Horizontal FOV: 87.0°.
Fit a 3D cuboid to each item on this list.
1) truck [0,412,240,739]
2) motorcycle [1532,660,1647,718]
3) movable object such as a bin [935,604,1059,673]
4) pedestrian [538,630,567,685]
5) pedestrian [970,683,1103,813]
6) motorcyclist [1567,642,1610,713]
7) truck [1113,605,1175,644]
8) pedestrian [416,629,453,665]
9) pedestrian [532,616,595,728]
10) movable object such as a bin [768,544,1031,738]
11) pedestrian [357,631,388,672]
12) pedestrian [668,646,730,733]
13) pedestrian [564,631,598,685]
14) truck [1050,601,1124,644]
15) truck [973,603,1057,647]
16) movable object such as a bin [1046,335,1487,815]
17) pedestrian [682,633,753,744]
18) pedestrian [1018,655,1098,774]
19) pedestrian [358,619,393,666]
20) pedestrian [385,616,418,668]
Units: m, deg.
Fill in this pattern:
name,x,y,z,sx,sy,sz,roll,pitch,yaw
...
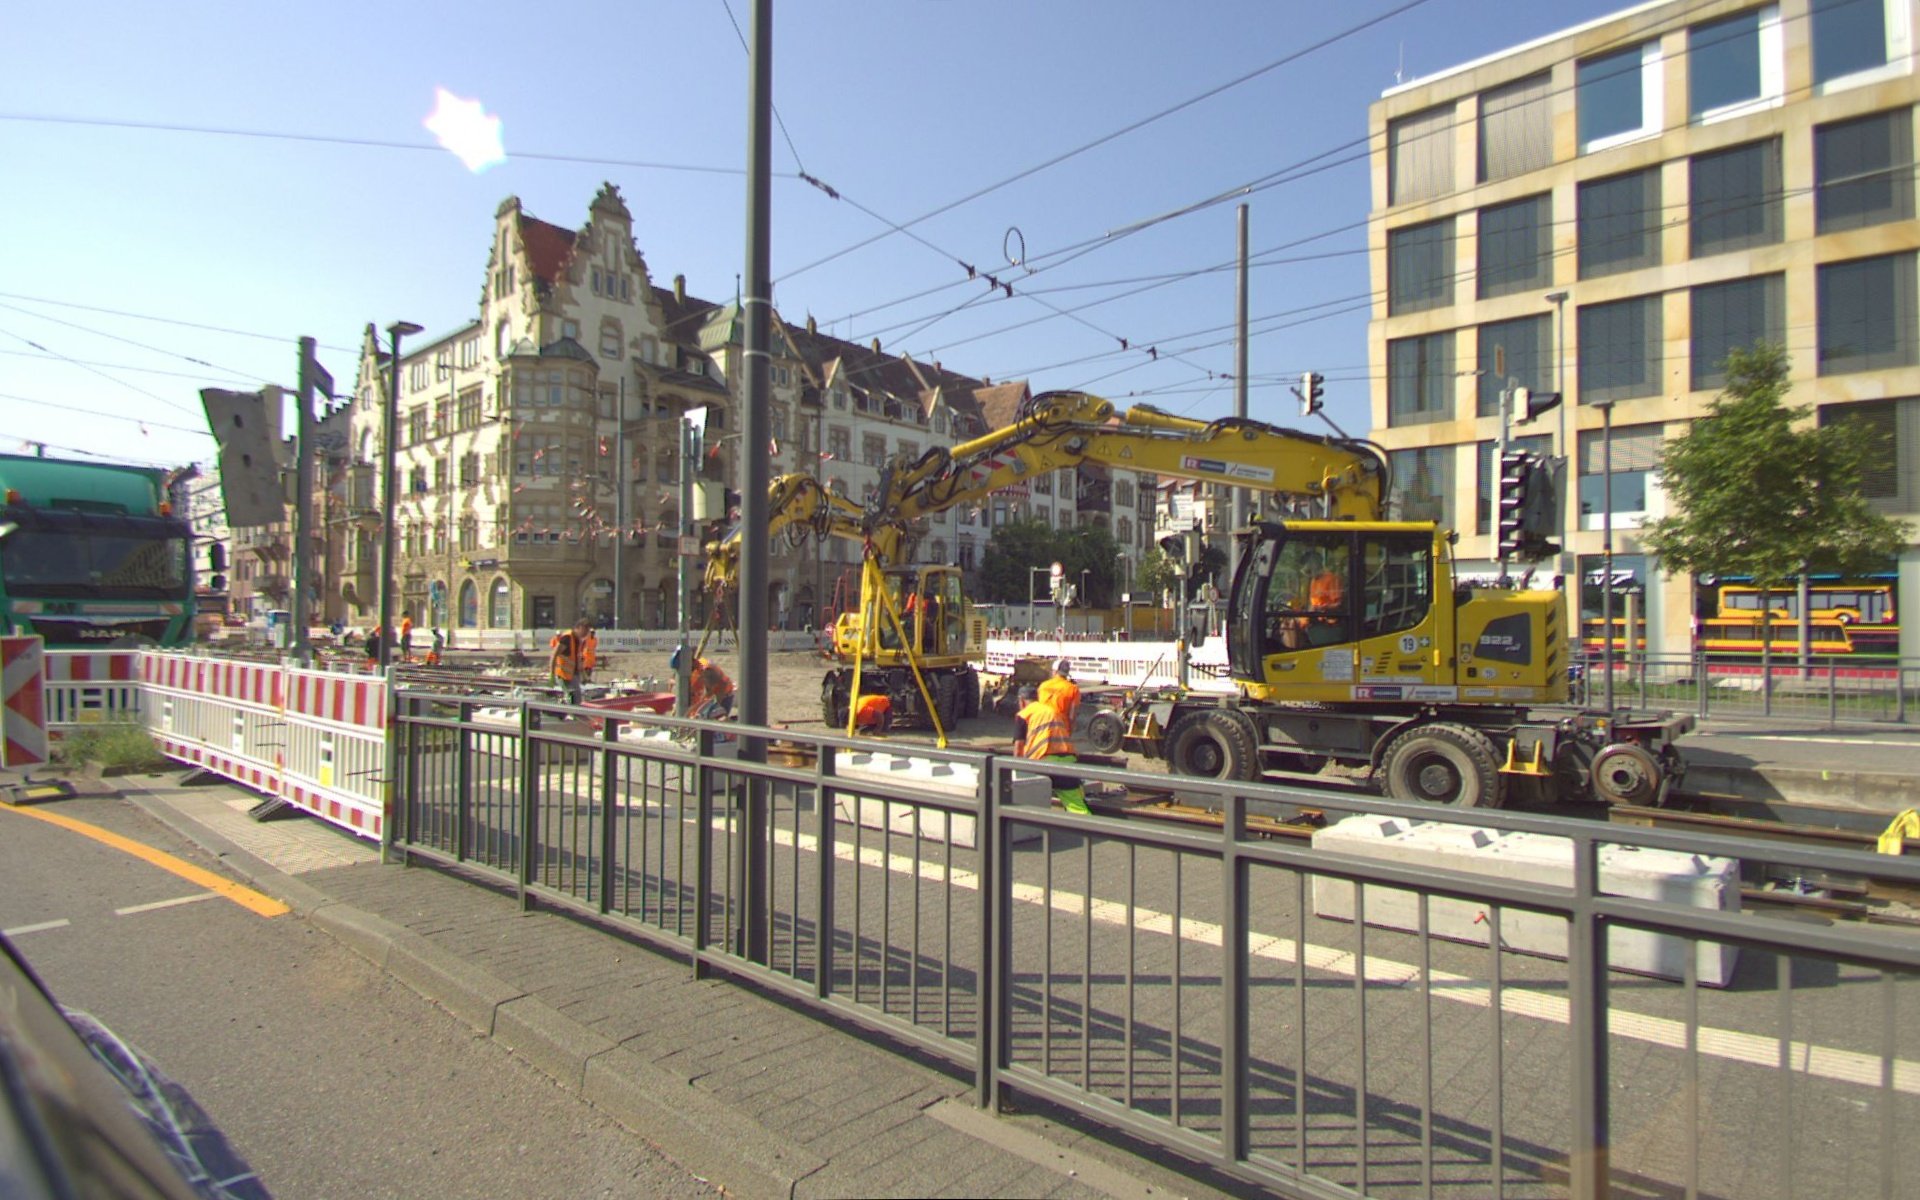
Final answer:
name,x,y,z,sx,sy,sz,roll,pitch,yaw
truck,-14.445,-0.193,15.101,8.987,3.817,2.786,-1,-3,33
motorcycle,10.941,1.543,17.632,0.424,0.885,1.636,6,-4,-43
movable object such as a bin,1.691,1.609,44.507,2.491,2.810,5.442,1,0,42
pedestrian,-12.945,1.830,32.165,0.728,1.715,0.761,2,-2,-29
pedestrian,0.643,1.215,8.548,0.882,0.962,0.693,-1,-3,42
motorcyclist,10.935,1.345,17.612,0.424,1.188,0.516,6,-4,-44
truck,15.041,2.041,82.440,2.236,3.067,6.273,-1,-2,39
pedestrian,-18.290,1.638,35.216,0.865,1.192,0.723,1,-4,35
pedestrian,-5.494,0.982,14.024,0.730,1.490,0.705,1,-2,-26
movable object such as a bin,-1.022,0.771,19.591,3.550,3.247,4.088,-1,-2,27
pedestrian,-18.317,1.604,31.563,0.547,1.256,0.669,-1,-3,40
pedestrian,-3.706,1.247,14.338,0.691,1.186,0.704,1,-2,-27
pedestrian,-12.222,1.861,32.664,0.758,1.715,0.731,-1,-3,41
truck,9.548,1.684,75.404,2.628,3.067,6.273,-1,-2,39
truck,3.767,1.706,68.426,2.689,2.836,5.961,-1,-2,39
movable object such as a bin,3.593,-0.171,12.211,4.213,4.589,2.953,-2,-3,44
pedestrian,-3.100,1.102,12.914,0.691,1.345,0.839,1,-2,-27
pedestrian,0.995,1.157,10.369,0.692,1.164,0.589,1,-2,-8
pedestrian,-19.766,1.444,34.216,0.727,1.568,0.753,1,-2,-1
pedestrian,-18.736,1.396,33.937,0.678,1.715,0.743,-1,-3,41
